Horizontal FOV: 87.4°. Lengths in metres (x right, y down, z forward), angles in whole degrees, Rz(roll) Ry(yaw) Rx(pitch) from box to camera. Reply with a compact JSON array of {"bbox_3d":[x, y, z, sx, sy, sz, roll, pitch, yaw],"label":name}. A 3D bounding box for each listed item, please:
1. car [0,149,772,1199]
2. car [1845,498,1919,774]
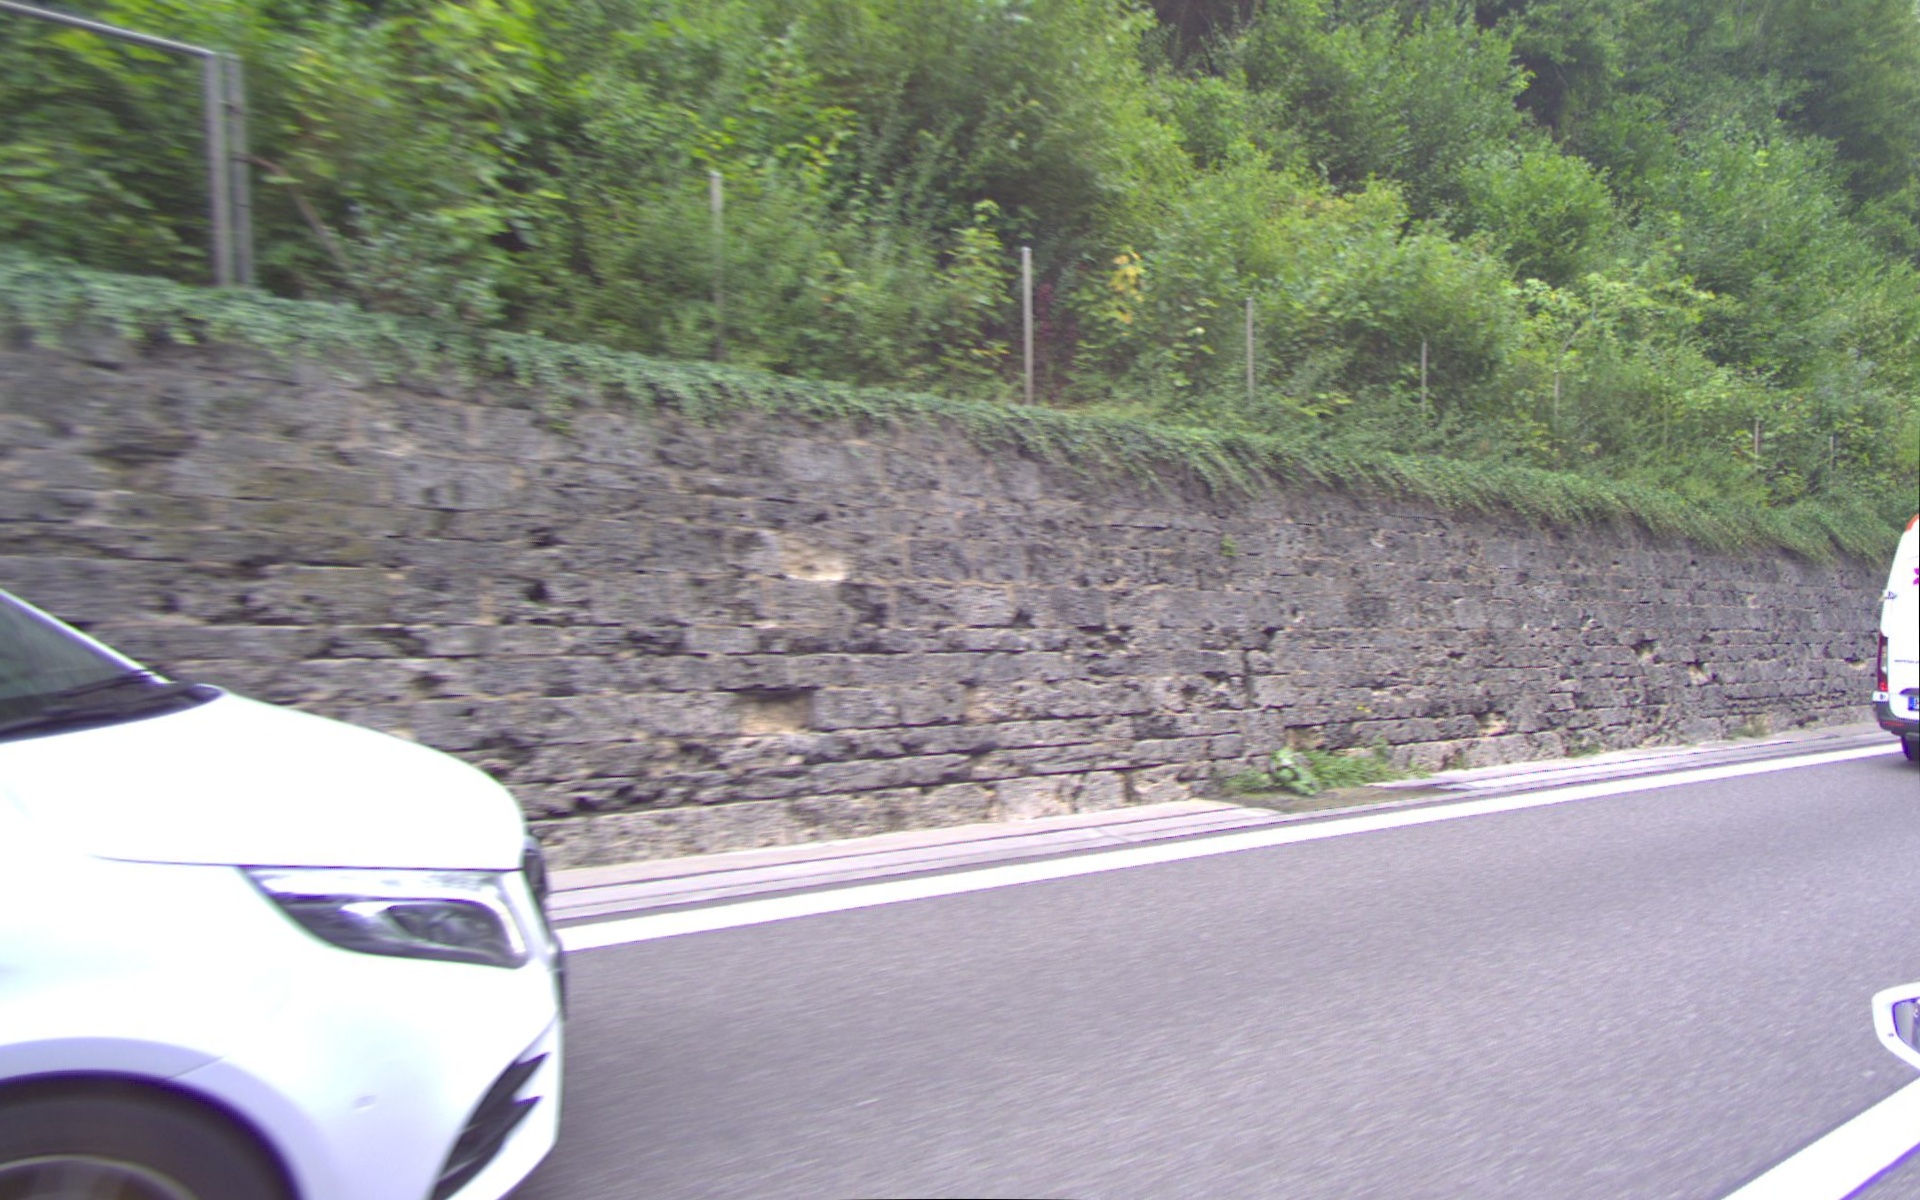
[{"bbox_3d":[-3.499,0.293,1.345,6.077,1.979,1.983,1,1,-31],"label":"car"},{"bbox_3d":[12.004,0.421,10.706,6.201,2.619,2.016,2,-1,-30],"label":"car"}]
